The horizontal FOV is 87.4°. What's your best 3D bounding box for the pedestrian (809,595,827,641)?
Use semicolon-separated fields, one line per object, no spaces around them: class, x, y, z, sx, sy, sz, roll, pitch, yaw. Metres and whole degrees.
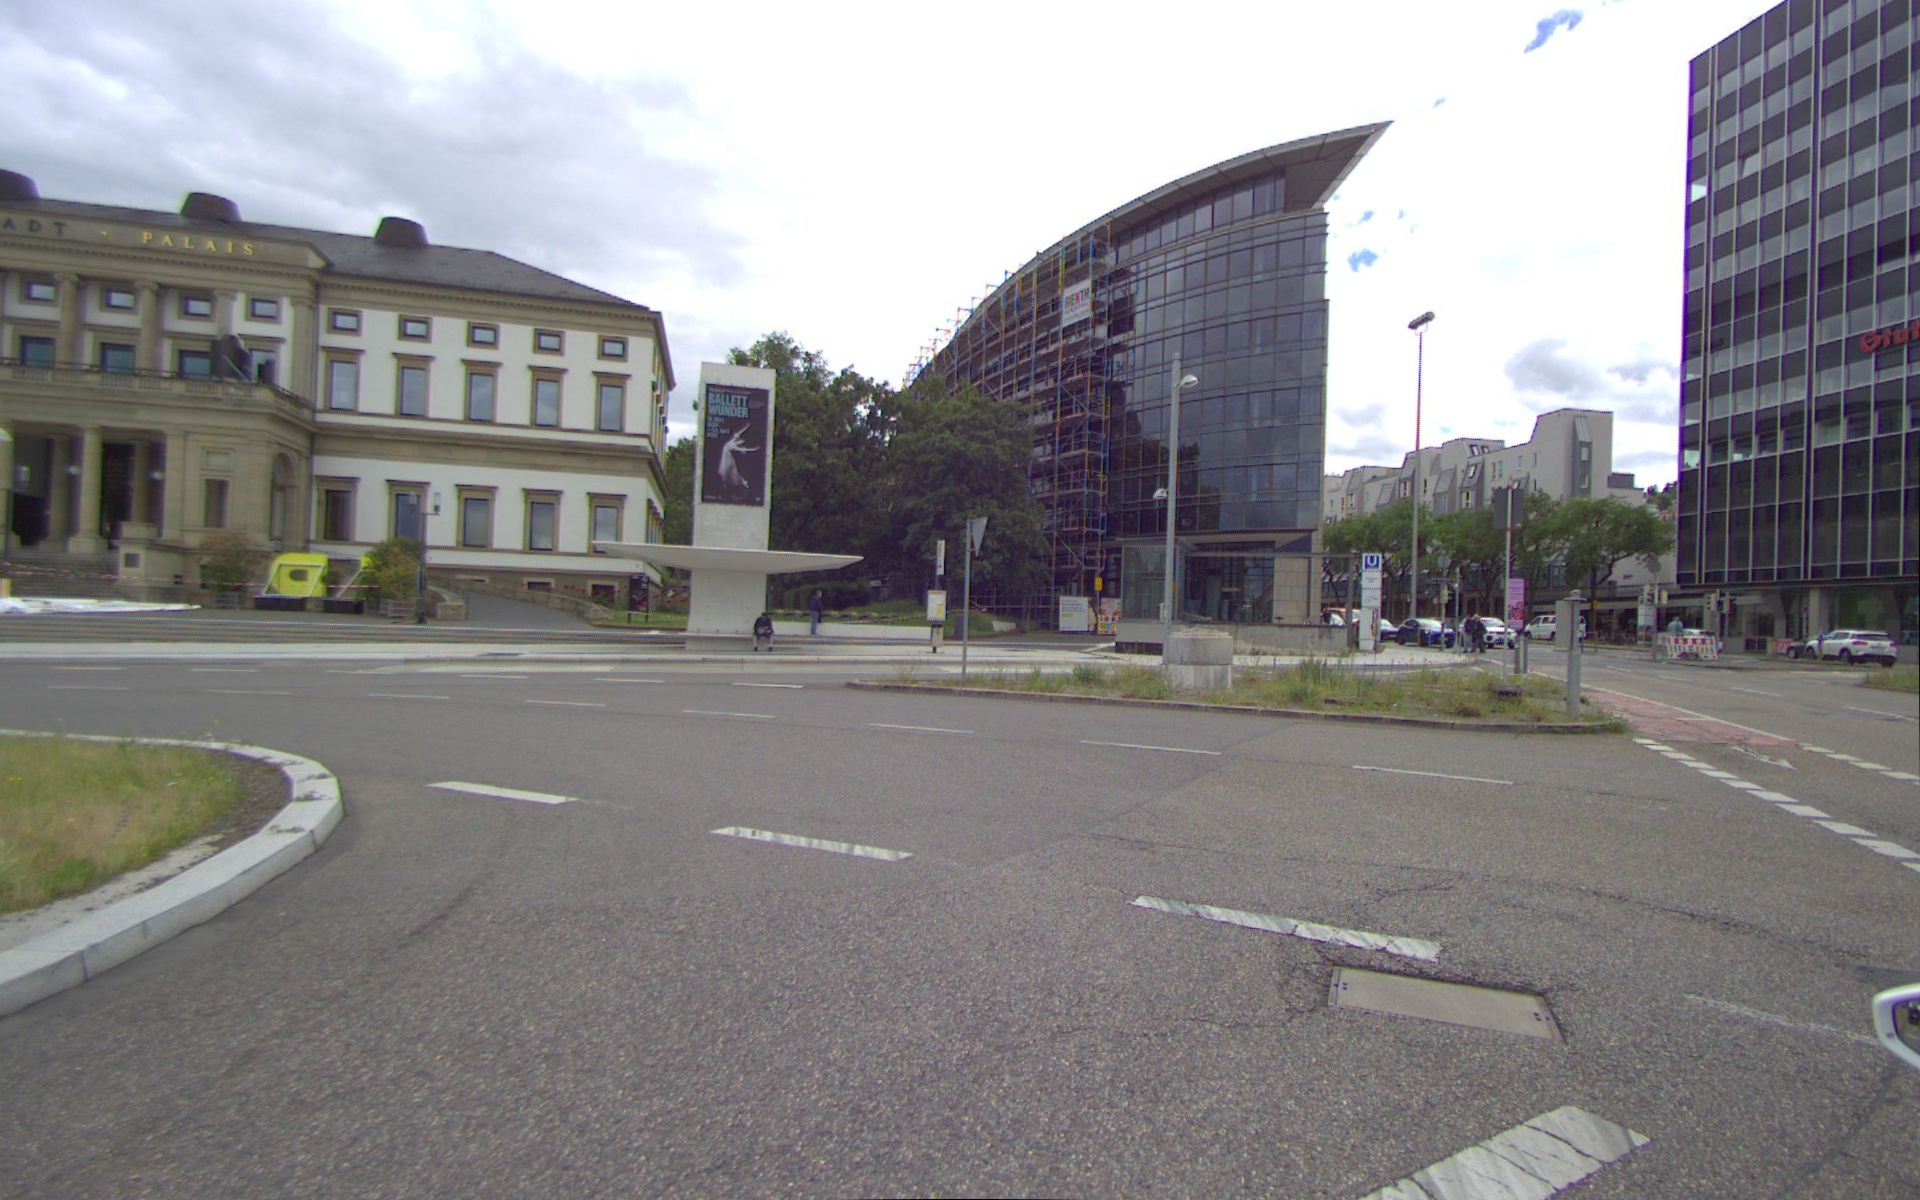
pedestrian;-5.692;0.732;40.357;0.584;1.837;0.604;1;0;0

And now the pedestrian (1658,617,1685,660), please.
pedestrian;31.473;1.694;44.433;0.704;1.815;0.634;-1;1;-3

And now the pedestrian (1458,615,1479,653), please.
pedestrian;24.116;1.608;47.675;0.631;1.723;0.632;2;0;1

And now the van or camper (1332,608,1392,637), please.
van or camper;27.948;1.523;70.031;1.882;1.947;5.081;1;0;-3

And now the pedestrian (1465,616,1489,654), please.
pedestrian;24.159;1.620;46.935;0.754;1.723;0.632;2;0;1

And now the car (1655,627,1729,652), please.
car;47.833;2.561;65.772;2.021;1.437;4.336;1;0;6

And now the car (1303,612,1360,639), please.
car;25.469;1.730;69.105;1.961;1.667;4.681;1;0;-3

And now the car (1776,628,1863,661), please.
car;46.255;2.373;54.164;1.828;1.595;4.002;1;0;11

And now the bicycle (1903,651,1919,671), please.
bicycle;53.692;3.428;55.876;0.668;1.020;1.764;0;1;-10

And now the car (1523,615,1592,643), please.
car;44.088;2.115;74.273;1.803;1.899;4.866;1;0;-6

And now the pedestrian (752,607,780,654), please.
pedestrian;-5.748;0.889;29.824;0.747;1.370;0.705;1;0;-9

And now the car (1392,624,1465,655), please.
car;25.816;2.142;55.494;1.961;1.545;4.090;2;0;-2

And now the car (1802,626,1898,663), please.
car;42.011;2.081;47.503;1.801;1.587;3.769;1;0;13

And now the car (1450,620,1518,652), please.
car;28.745;1.954;55.203;1.705;1.620;4.321;2;0;4
